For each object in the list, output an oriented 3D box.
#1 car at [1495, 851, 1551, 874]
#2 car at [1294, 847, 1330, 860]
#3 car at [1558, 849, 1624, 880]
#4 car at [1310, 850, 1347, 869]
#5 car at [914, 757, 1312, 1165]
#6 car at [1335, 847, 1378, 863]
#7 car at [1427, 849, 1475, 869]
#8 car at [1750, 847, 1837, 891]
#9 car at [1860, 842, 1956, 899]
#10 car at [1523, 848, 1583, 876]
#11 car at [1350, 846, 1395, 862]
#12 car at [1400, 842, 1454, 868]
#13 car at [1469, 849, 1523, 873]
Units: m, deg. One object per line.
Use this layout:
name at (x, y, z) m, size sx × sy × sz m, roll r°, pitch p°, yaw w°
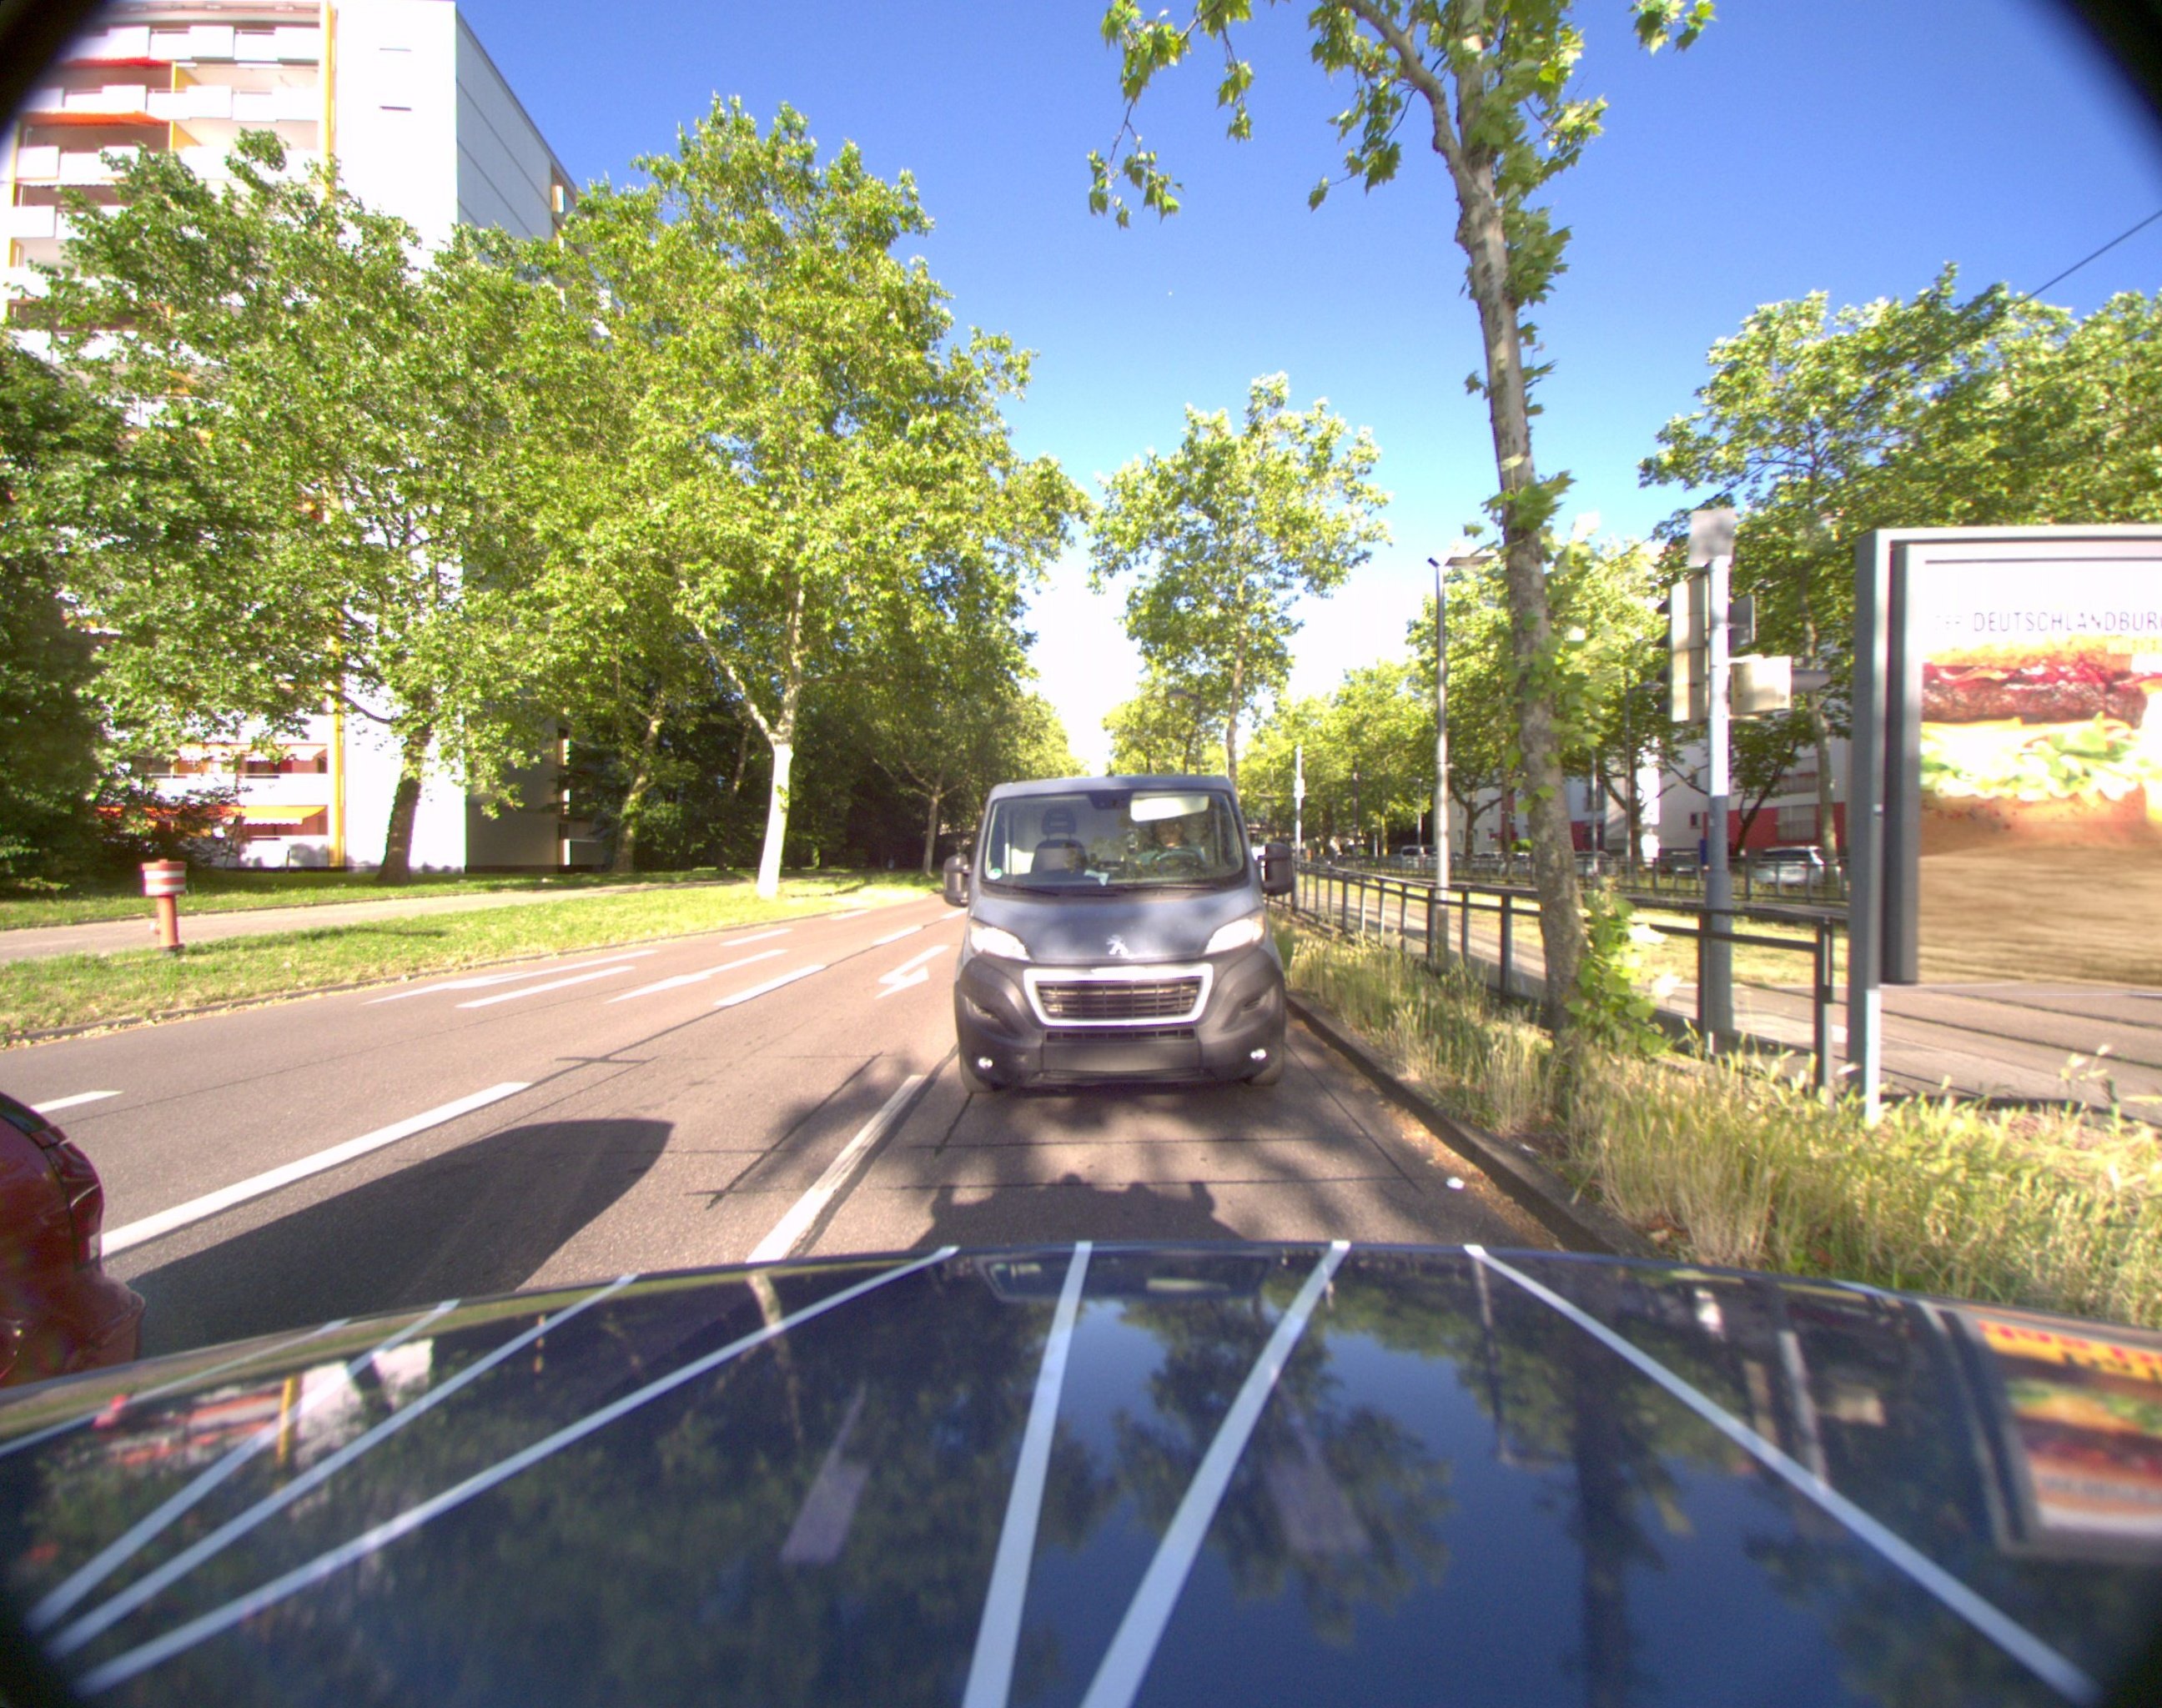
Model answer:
car at (26.196, 0.477, 44.949) m, size 3.689 × 1.234 × 1.645 m, roll -1°, pitch 1°, yaw -39°
car at (27.201, -0.066, 89.417) m, size 4.376 × 1.367 × 1.919 m, roll -1°, pitch 1°, yaw -39°
car at (25.326, 0.496, 37.679) m, size 3.689 × 1.384 × 1.645 m, roll -1°, pitch 1°, yaw -38°
car at (20.053, 0.423, 61.616) m, size 1.825 × 1.412 × 3.758 m, roll -1°, pitch 0°, yaw 1°
car at (0.205, 0.553, 6.557) m, size 2.040 × 2.102 × 5.113 m, roll -2°, pitch 0°, yaw 1°
car at (26.587, 0.093, 73.267) m, size 4.376 × 1.367 × 1.919 m, roll -1°, pitch 1°, yaw -39°
car at (26.242, 0.342, 53.887) m, size 3.689 × 1.388 × 1.645 m, roll -1°, pitch 1°, yaw -39°
car at (25.051, 0.490, 26.675) m, size 3.689 × 1.425 × 1.683 m, roll -1°, pitch 1°, yaw -38°
car at (25.013, 0.457, 22.949) m, size 3.689 × 1.558 × 1.683 m, roll -1°, pitch 1°, yaw -38°
car at (25.807, 0.424, 41.507) m, size 3.689 × 1.440 × 1.645 m, roll -1°, pitch 1°, yaw -39°
car at (26.868, -0.015, 70.050) m, size 4.376 × 1.367 × 1.919 m, roll -1°, pitch 1°, yaw -39°
car at (25.958, 0.079, 56.981) m, size 4.376 × 1.873 × 1.919 m, roll -1°, pitch 1°, yaw -39°
car at (25.954, 0.410, 47.484) m, size 3.689 × 1.440 × 1.645 m, roll -1°, pitch 1°, yaw -39°
